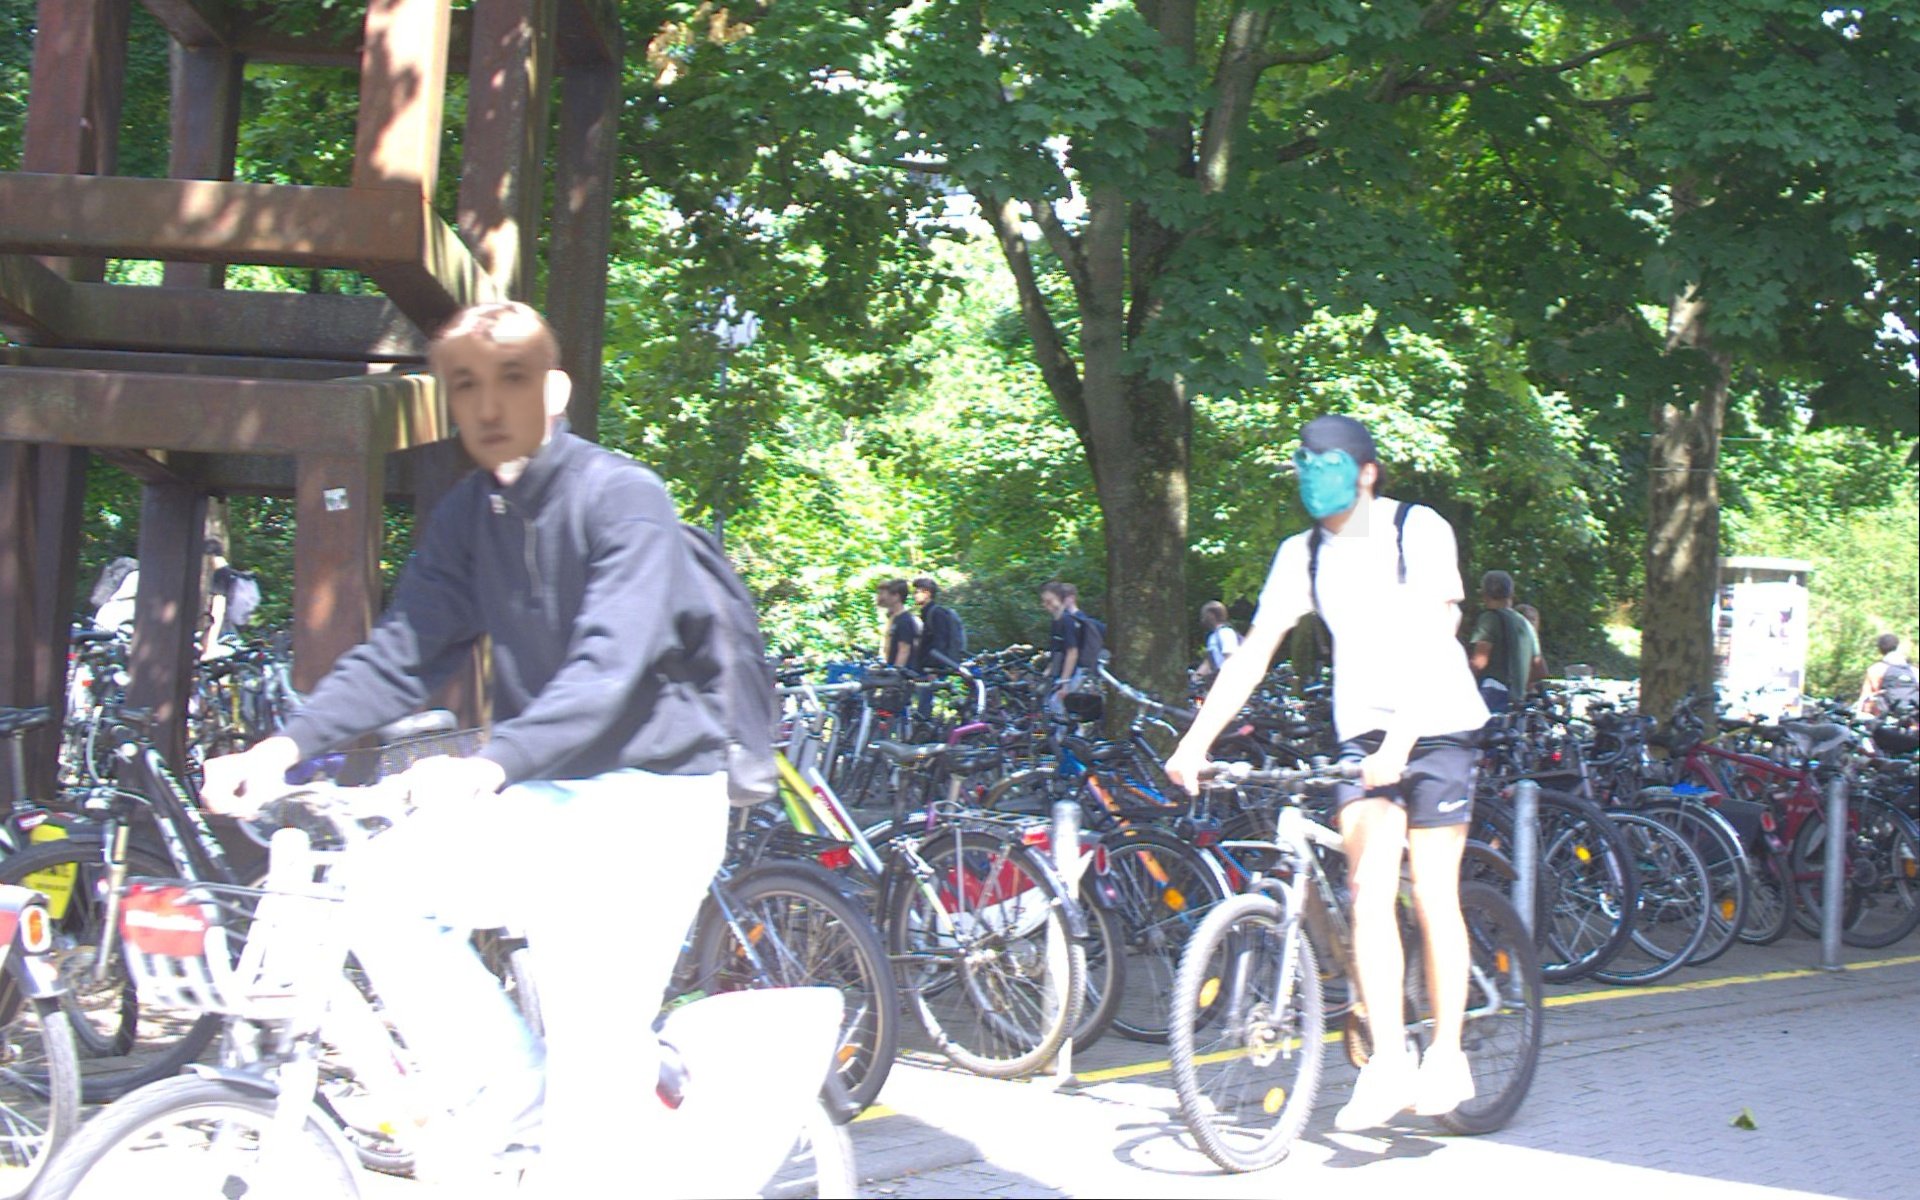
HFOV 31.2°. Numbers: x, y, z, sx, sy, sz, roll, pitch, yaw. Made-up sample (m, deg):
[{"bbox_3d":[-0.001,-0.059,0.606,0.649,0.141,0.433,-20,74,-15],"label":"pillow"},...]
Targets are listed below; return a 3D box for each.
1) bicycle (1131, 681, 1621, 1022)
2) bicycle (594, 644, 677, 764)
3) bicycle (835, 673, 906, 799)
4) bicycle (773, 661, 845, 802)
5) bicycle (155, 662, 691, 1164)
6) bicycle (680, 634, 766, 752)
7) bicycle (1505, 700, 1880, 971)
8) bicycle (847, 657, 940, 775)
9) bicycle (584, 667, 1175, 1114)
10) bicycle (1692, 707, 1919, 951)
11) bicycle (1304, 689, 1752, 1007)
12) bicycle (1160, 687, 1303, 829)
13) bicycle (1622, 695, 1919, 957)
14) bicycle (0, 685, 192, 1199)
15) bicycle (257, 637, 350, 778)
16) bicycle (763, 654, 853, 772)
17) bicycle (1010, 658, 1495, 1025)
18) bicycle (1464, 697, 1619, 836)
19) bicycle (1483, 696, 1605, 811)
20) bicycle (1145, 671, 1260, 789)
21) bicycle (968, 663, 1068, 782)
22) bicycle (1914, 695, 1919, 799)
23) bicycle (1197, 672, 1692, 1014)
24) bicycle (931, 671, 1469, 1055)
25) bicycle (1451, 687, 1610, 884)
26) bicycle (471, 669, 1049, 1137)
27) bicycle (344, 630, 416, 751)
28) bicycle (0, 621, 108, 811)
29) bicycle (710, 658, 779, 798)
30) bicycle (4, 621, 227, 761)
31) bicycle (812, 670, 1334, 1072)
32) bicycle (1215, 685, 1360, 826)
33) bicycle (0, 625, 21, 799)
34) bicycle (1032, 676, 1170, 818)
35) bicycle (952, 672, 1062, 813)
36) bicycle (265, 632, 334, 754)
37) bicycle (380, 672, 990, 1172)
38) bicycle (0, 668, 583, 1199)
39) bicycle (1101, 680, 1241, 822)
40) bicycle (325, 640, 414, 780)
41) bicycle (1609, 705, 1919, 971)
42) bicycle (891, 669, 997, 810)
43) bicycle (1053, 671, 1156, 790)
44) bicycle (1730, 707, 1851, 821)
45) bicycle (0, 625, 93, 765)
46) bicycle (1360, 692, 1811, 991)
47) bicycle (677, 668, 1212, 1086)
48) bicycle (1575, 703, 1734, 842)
[{"bbox_3d":[1.542,0.911,12.810,1.627,1.104,0.644,3,-1,30],"label":"bicycle"},{"bbox_3d":[-3.222,1.014,34.071,0.515,1.106,1.778,4,-1,-13],"label":"bicycle"},{"bbox_3d":[-0.743,1.100,28.164,0.450,0.958,1.740,4,-1,-4],"label":"bicycle"},{"bbox_3d":[-1.244,1.062,28.111,0.472,1.080,1.700,4,-1,-4],"label":"bicycle"},{"bbox_3d":[-1.405,0.745,8.784,0.495,1.104,1.629,2,1,-43],"label":"bicycle"},{"bbox_3d":[-2.379,0.914,34.321,0.515,1.106,1.778,4,-1,-13],"label":"bicycle"},{"bbox_3d":[3.366,1.070,15.910,0.561,1.104,1.629,5,-1,-41],"label":"bicycle"},{"bbox_3d":[-0.683,1.153,34.676,0.515,1.106,1.778,4,-1,-13],"label":"bicycle"},{"bbox_3d":[-0.257,0.802,9.939,1.628,1.104,0.628,3,-1,40],"label":"bicycle"},{"bbox_3d":[4.565,1.146,17.260,0.573,1.104,1.740,5,-1,-36],"label":"bicycle"},{"bbox_3d":[2.251,0.964,13.689,1.627,1.104,0.496,3,-1,30],"label":"bicycle"},{"bbox_3d":[2.258,1.310,28.823,0.472,1.080,1.700,4,-1,-20],"label":"bicycle"},{"bbox_3d":[4.079,1.085,16.808,0.495,1.140,1.629,5,-1,-41],"label":"bicycle"},{"bbox_3d":[-2.432,0.730,7.465,1.628,1.104,0.496,2,0,35],"label":"bicycle"},{"bbox_3d":[-5.322,0.858,27.925,0.472,1.080,1.700,4,-1,-4],"label":"bicycle"},{"bbox_3d":[-1.543,1.125,34.648,0.515,1.106,1.778,4,-1,-13],"label":"bicycle"},{"bbox_3d":[1.023,0.831,12.241,1.628,1.147,0.496,3,-1,36],"label":"bicycle"},{"bbox_3d":[4.971,1.417,29.495,0.472,1.080,1.700,4,-1,-20],"label":"bicycle"},{"bbox_3d":[6.170,1.609,36.394,0.472,1.106,1.778,4,-1,-16],"label":"bicycle"},{"bbox_3d":[2.462,1.318,35.089,0.515,1.106,1.778,4,-1,-16],"label":"bicycle"},{"bbox_3d":[0.572,1.223,34.640,0.515,1.106,1.778,4,-1,-13],"label":"bicycle"},{"bbox_3d":[10.583,1.532,34.380,1.905,1.043,0.541,3,-1,24],"label":"bicycle"},{"bbox_3d":[1.866,0.918,13.357,1.782,1.158,0.496,3,-1,30],"label":"bicycle"},{"bbox_3d":[0.779,0.847,11.453,1.628,1.104,0.689,3,-1,40],"label":"bicycle"},{"bbox_3d":[3.758,1.203,22.772,0.574,1.195,1.700,4,-1,-4],"label":"bicycle"},{"bbox_3d":[-0.578,0.796,9.477,1.628,1.104,0.496,3,-1,40],"label":"bicycle"},{"bbox_3d":[-5.661,0.865,33.513,0.515,1.106,1.778,4,-1,-13],"label":"bicycle"},{"bbox_3d":[-5.819,0.692,21.234,0.501,1.104,1.906,4,-1,2],"label":"bicycle"},{"bbox_3d":[-1.781,1.040,28.339,0.472,1.080,1.700,4,-1,-4],"label":"bicycle"},{"bbox_3d":[-7.267,0.782,29.616,1.695,1.080,0.604,4,-1,8],"label":"bicycle"},{"bbox_3d":[0.334,0.826,10.887,1.628,1.104,0.496,3,-1,40],"label":"bicycle"},{"bbox_3d":[2.741,1.297,28.956,0.472,1.080,1.700,4,-1,-20],"label":"bicycle"},{"bbox_3d":[-6.363,0.688,21.178,0.501,1.104,1.906,4,-1,2],"label":"bicycle"},{"bbox_3d":[1.162,1.214,28.702,0.472,1.080,1.700,4,-1,-20],"label":"bicycle"},{"bbox_3d":[0.380,1.173,28.655,0.472,1.080,1.700,4,-1,-12],"label":"bicycle"},{"bbox_3d":[-6.410,0.890,33.326,0.515,1.106,1.778,4,-1,-13],"label":"bicycle"},{"bbox_3d":[-0.741,0.790,8.894,1.628,1.104,0.496,3,-1,40],"label":"bicycle"},{"bbox_3d":[-1.675,0.746,8.023,1.628,1.104,0.496,2,0,35],"label":"bicycle"},{"bbox_3d":[1.755,1.249,28.802,0.472,1.080,1.700,4,-1,-20],"label":"bicycle"},{"bbox_3d":[-4.807,0.881,28.050,0.472,1.080,1.700,4,-1,-4],"label":"bicycle"},{"bbox_3d":[3.897,1.101,16.188,0.495,1.104,1.629,5,-1,-41],"label":"bicycle"},{"bbox_3d":[-0.145,1.145,28.613,0.472,1.080,1.700,4,-1,-12],"label":"bicycle"},{"bbox_3d":[1.449,1.307,34.814,0.515,1.106,1.778,4,-1,-13],"label":"bicycle"},{"bbox_3d":[8.796,1.727,36.473,0.472,1.106,1.778,4,-1,-11],"label":"bicycle"},{"bbox_3d":[-7.508,0.760,28.039,0.472,1.080,1.700,4,-1,-4],"label":"bicycle"},{"bbox_3d":[2.631,1.002,14.593,0.717,1.104,1.726,5,-1,-44],"label":"bicycle"},{"bbox_3d":[-0.073,0.813,10.506,1.628,1.104,0.505,3,-1,40],"label":"bicycle"},{"bbox_3d":[5.967,1.472,29.624,0.472,1.080,1.700,4,-1,-20],"label":"bicycle"}]
